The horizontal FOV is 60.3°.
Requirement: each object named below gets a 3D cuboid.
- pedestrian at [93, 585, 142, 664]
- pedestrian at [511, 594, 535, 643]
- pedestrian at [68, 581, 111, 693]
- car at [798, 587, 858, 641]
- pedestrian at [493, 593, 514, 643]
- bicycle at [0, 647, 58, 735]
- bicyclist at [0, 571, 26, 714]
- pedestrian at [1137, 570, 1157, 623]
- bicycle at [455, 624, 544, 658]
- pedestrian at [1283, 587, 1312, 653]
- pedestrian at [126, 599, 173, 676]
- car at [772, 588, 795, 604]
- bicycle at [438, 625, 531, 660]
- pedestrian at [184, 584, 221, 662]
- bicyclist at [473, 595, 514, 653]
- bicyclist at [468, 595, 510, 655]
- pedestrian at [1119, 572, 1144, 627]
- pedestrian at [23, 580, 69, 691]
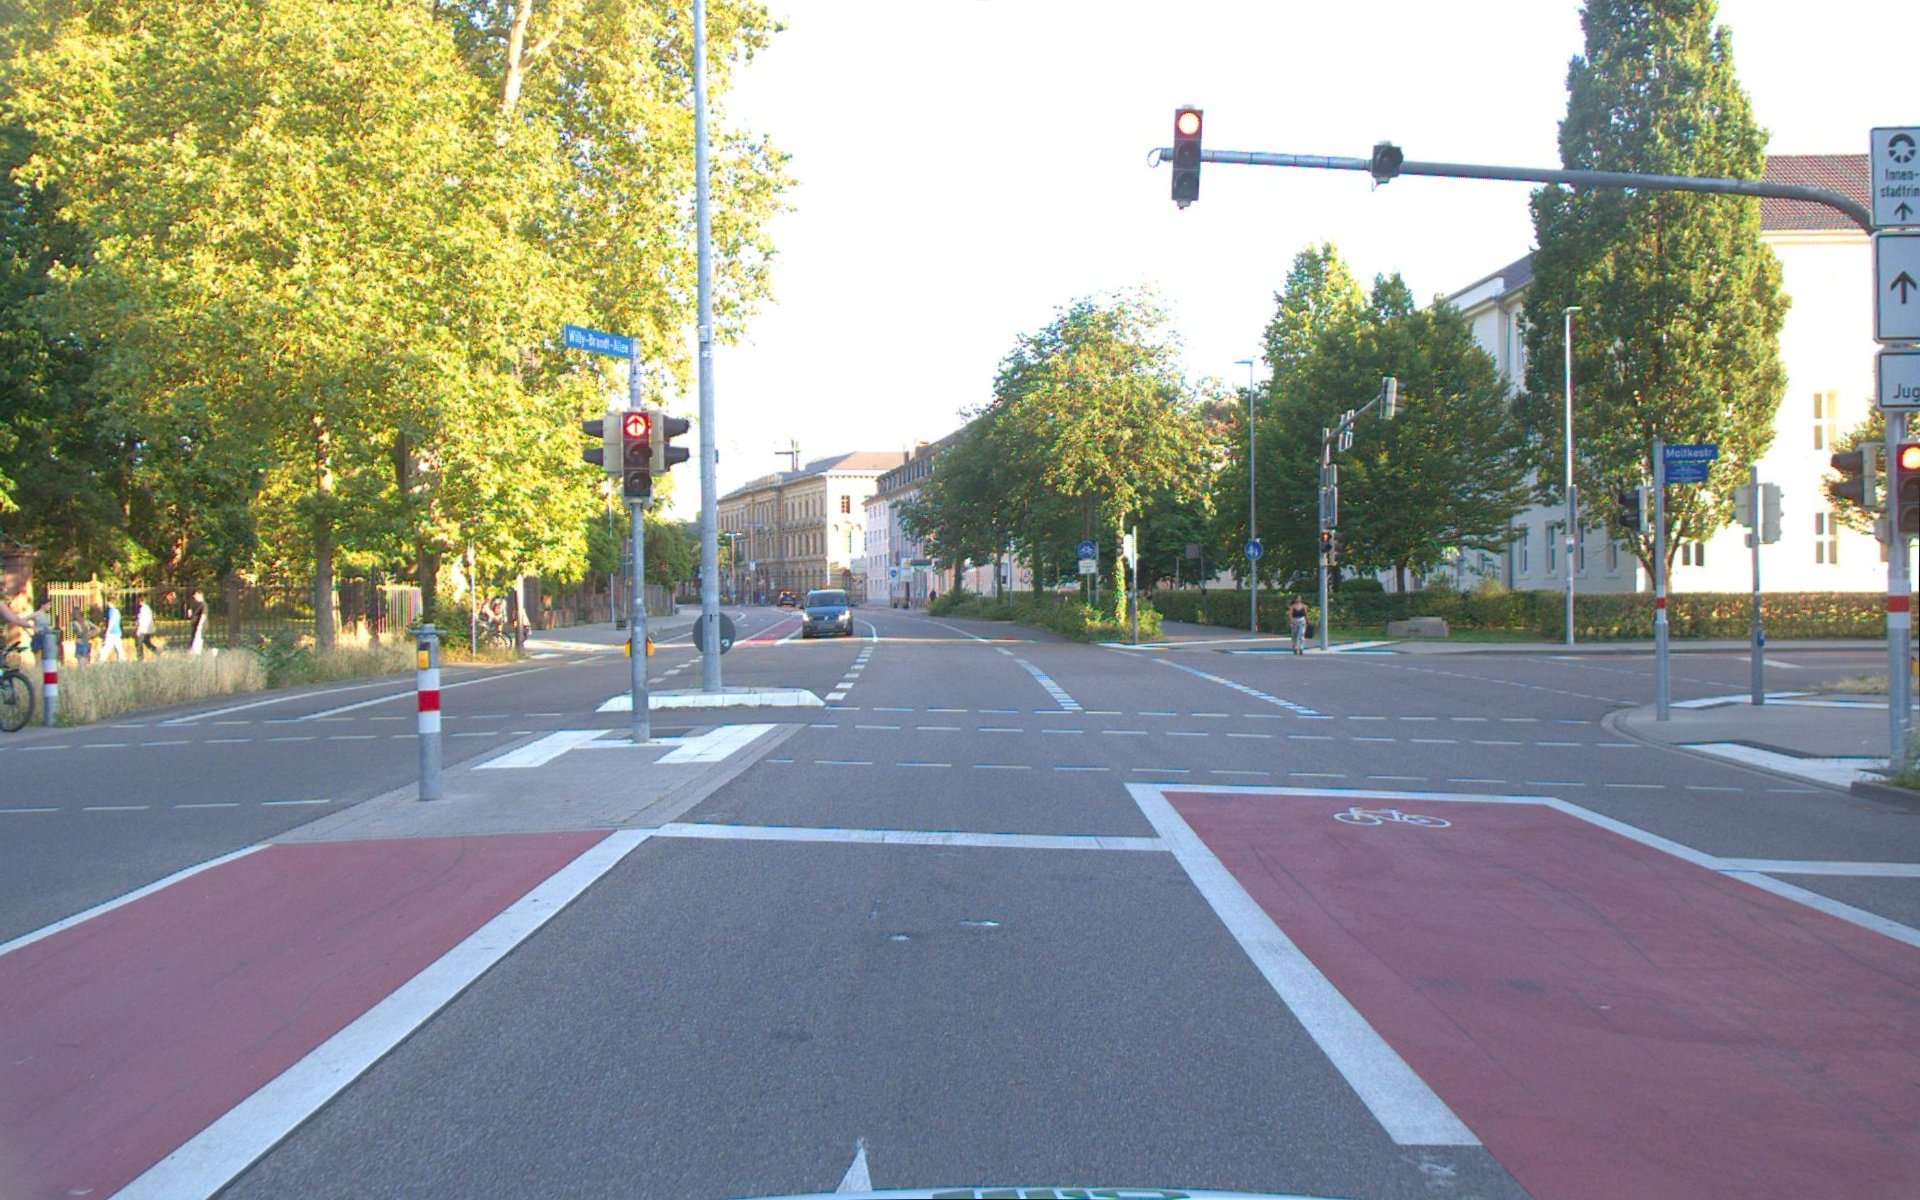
[{"bbox_3d":[-22.212,0.633,43.622,0.786,2.049,0.993,0,0,-1],"label":"pedestrian"},{"bbox_3d":[-14.477,0.607,54.777,0.587,1.601,0.646,-1,0,-1],"label":"pedestrian"},{"bbox_3d":[-16.207,0.672,30.785,0.590,2.049,0.632,0,0,-40],"label":"pedestrian"},{"bbox_3d":[-4.655,0.474,58.798,1.812,1.750,4.295,-3,0,-1],"label":"car"},{"bbox_3d":[-15.144,0.600,54.890,0.524,1.624,0.590,-1,0,-1],"label":"pedestrian"},{"bbox_3d":[-12.232,1.133,20.984,1.733,1.048,0.578,-1,0,31],"label":"bicycle"},{"bbox_3d":[-12.371,0.537,21.069,0.625,1.811,0.575,-1,0,30],"label":"bicyclist"},{"bbox_3d":[7.168,-0.133,63.422,0.622,2.049,0.720,0,0,-4],"label":"pedestrian"},{"bbox_3d":[-13.389,1.189,48.121,2.380,0.940,0.775,-1,0,0],"label":"bicycle"},{"bbox_3d":[8.623,0.502,42.260,0.587,1.664,0.691,0,1,1],"label":"pedestrian"},{"bbox_3d":[-21.955,1.008,44.817,0.745,2.049,1.077,0,0,-1],"label":"pedestrian"},{"bbox_3d":[-18.769,-0.386,175.755,1.789,1.616,3.985,-2,1,-14],"label":"car"},{"bbox_3d":[-13.390,1.199,46.589,2.380,0.940,0.775,-1,0,0],"label":"bicycle"},{"bbox_3d":[-20.171,0.595,44.046,0.626,2.049,0.701,-1,0,1],"label":"pedestrian"},{"bbox_3d":[-13.564,0.693,48.111,0.938,1.659,0.753,-1,0,0],"label":"bicyclist"},{"bbox_3d":[-13.252,0.701,46.578,0.938,1.659,0.753,-1,0,0],"label":"bicyclist"},{"bbox_3d":[6.501,-0.020,62.664,0.852,2.049,0.722,0,0,-1],"label":"pedestrian"},{"bbox_3d":[-17.100,0.646,30.944,0.644,2.049,0.598,0,0,-39],"label":"pedestrian"}]
